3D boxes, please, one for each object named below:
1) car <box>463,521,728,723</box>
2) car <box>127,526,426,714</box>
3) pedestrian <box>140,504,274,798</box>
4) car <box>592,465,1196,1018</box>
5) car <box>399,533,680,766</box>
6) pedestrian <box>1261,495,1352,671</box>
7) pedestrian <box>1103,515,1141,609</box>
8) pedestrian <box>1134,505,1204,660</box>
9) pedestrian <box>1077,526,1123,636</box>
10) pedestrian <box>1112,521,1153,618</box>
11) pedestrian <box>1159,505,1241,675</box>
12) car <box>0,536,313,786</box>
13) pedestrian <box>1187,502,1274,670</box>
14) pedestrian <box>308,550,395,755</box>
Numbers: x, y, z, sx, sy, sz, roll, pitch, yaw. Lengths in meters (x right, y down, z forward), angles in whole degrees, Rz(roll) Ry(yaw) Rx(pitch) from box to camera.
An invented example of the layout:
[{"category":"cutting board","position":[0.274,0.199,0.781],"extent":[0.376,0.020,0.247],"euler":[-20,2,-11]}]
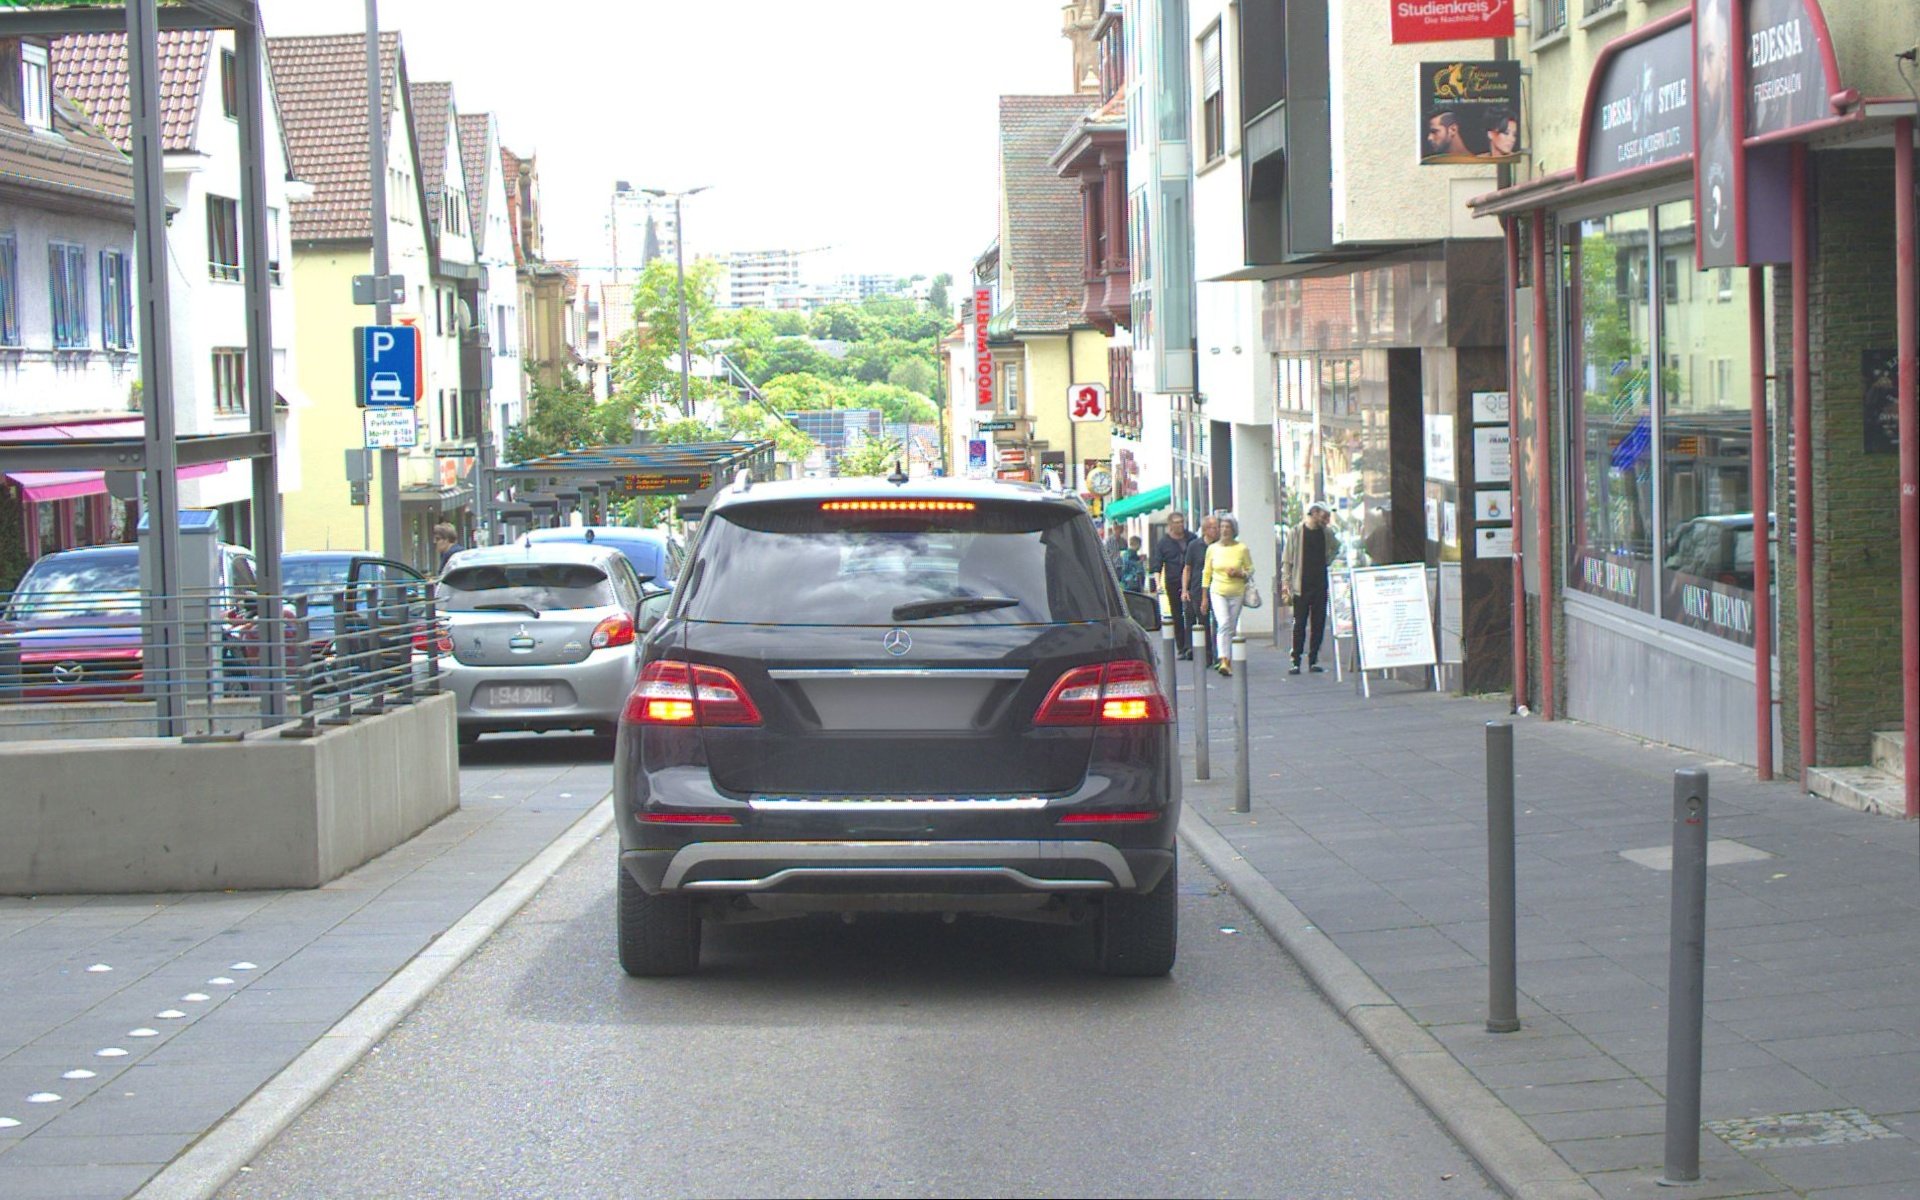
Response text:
[{"category":"car","position":[-3.120,0.148,30.255],"extent":[1.956,1.634,4.315],"euler":[0,1,-1]},{"category":"car","position":[-5.884,0.123,30.009],"extent":[1.739,1.470,3.884],"euler":[1,2,1]},{"category":"pedestrian","position":[-4.358,0.277,19.934],"extent":[0.533,1.666,0.901],"euler":[-1,1,1]},{"category":"car","position":[-0.305,0.422,12.902],"extent":[1.900,1.741,4.001],"euler":[1,1,-3]},{"category":"car","position":[-2.925,0.301,24.526],"extent":[1.620,1.527,3.671],"euler":[0,1,-1]},{"category":"pedestrian","position":[3.427,-0.174,34.017],"extent":[0.662,1.683,0.543],"euler":[-5,1,-7]},{"category":"pedestrian","position":[2.905,-0.689,61.827],"extent":[0.573,1.683,0.566],"euler":[0,1,-7]},{"category":"pedestrian","position":[2.392,-0.211,39.394],"extent":[0.711,1.747,0.787],"euler":[-1,1,-1]},{"category":"pedestrian","position":[2.167,-0.297,53.254],"extent":[0.621,1.683,0.566],"euler":[0,1,-7]},{"category":"pedestrian","position":[3.056,-0.537,60.925],"extent":[0.573,1.683,0.566],"euler":[-3,1,-7]},{"category":"pedestrian","position":[2.547,-0.114,36.504],"extent":[0.711,1.747,0.785],"euler":[-3,1,-1]},{"category":"car","position":[-5.602,0.343,23.276],"extent":[1.739,1.537,4.193],"euler":[0,1,-1]},{"category":"pedestrian","position":[2.717,-0.147,34.559],"extent":[0.711,1.625,0.835],"euler":[-3,1,-1]},{"category":"pedestrian","position":[-4.332,0.367,24.489],"extent":[0.466,1.427,0.492],"euler":[-3,1,-1]}]
